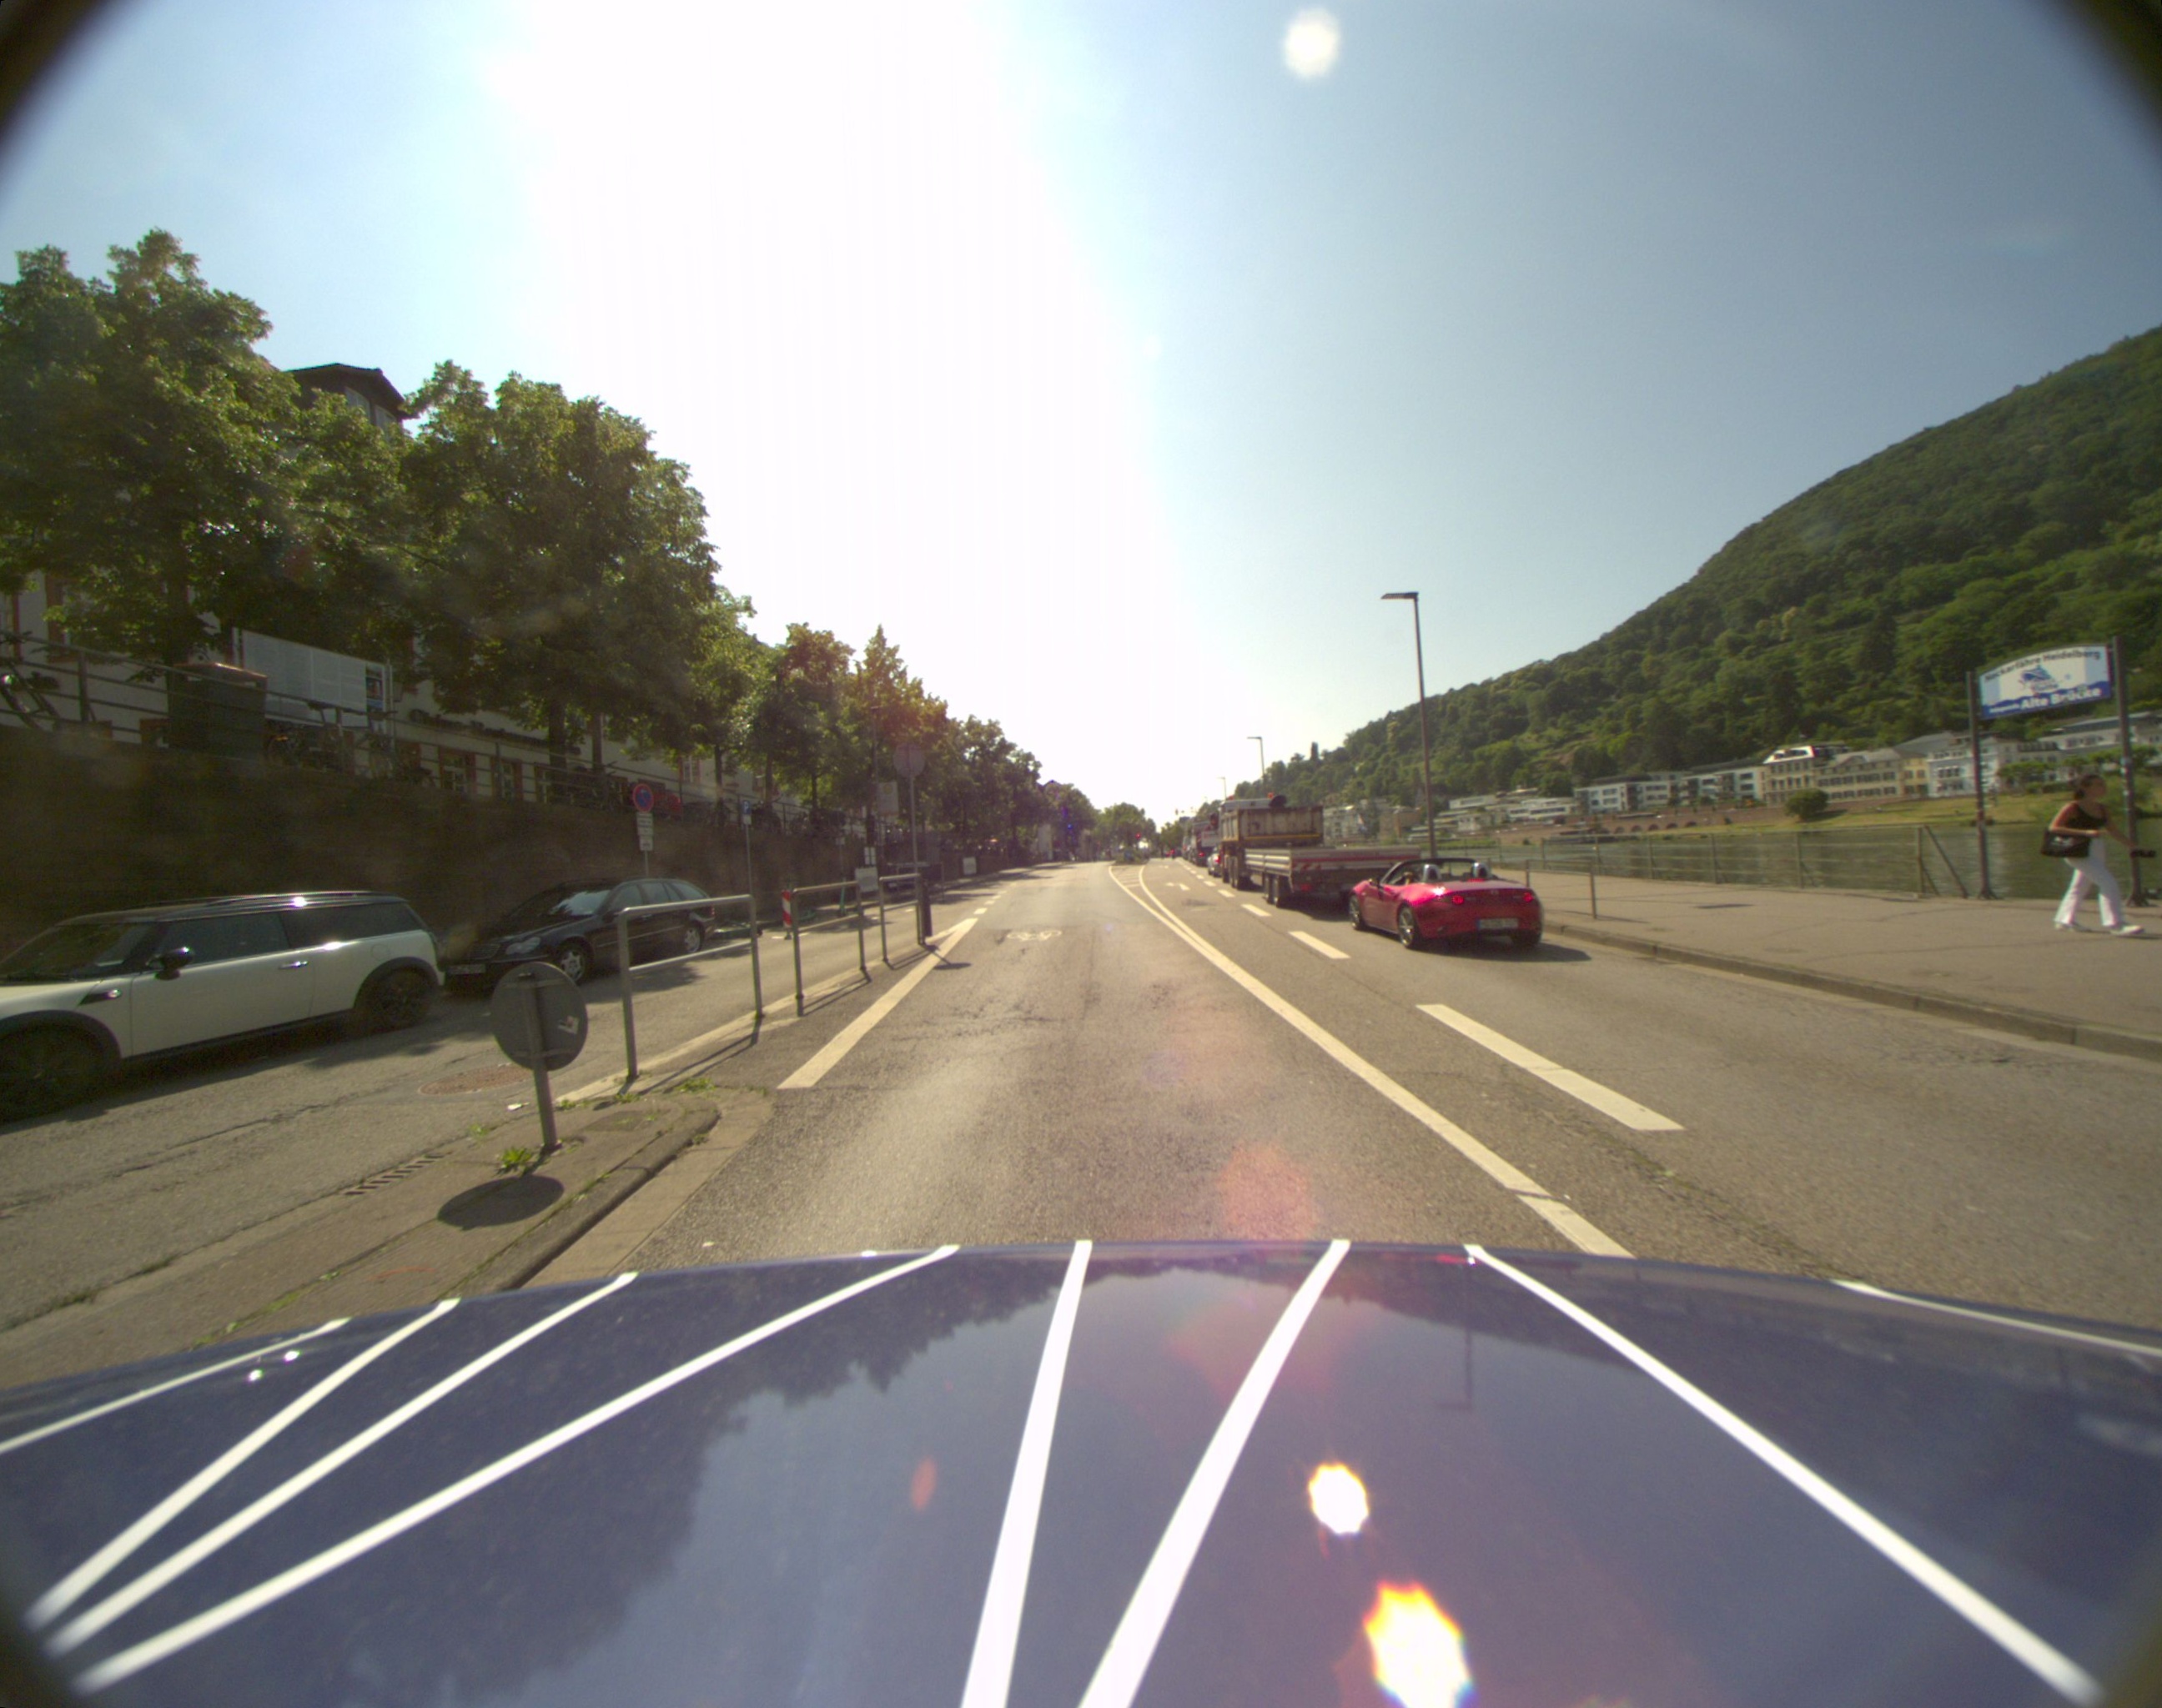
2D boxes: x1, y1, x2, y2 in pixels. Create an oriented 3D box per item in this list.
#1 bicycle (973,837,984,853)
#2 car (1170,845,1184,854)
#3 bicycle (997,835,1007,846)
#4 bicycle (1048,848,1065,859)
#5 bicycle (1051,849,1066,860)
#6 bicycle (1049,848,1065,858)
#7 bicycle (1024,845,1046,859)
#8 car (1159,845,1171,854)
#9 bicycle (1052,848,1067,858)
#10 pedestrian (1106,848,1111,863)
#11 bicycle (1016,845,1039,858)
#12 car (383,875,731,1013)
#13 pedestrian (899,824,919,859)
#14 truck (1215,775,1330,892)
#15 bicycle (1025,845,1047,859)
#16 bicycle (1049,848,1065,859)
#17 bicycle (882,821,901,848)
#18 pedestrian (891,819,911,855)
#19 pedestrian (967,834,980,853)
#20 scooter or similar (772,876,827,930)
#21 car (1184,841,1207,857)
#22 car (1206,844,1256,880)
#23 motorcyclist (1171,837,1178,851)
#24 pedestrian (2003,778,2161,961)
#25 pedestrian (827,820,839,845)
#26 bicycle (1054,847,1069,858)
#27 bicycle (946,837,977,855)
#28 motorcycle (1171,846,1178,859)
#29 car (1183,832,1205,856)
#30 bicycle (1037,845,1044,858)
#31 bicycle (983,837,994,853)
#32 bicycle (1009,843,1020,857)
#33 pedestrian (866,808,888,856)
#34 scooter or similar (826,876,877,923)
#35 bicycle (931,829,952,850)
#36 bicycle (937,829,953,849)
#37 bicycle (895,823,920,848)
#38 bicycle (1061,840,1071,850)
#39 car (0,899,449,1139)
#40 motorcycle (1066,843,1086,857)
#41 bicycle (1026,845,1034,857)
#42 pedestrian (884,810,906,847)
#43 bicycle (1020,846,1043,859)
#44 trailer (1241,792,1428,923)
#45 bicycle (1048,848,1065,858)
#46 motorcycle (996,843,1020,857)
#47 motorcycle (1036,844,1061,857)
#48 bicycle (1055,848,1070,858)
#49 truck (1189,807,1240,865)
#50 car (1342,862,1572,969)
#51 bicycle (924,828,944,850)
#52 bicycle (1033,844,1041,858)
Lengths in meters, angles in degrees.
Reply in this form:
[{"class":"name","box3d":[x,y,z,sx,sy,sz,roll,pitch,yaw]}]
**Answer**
[{"class":"bicycle","box3d":[-6.523,-0.551,48.516,0.298,0.998,1.860,-2,0,4]},{"class":"car","box3d":[15.627,-0.751,123.595,1.998,1.444,4.262,-4,0,6]},{"class":"bicycle","box3d":[-5.723,-0.949,55.163,0.350,0.779,1.919,-2,0,3]},{"class":"bicycle","box3d":[-2.579,-0.089,81.212,1.753,1.126,0.464,0,1,1]},{"class":"bicycle","box3d":[-2.472,0.077,84.080,1.631,1.210,0.413,0,1,1]},{"class":"bicycle","box3d":[-2.589,-0.117,82.057,1.753,1.126,0.464,0,1,1]},{"class":"bicycle","box3d":[-4.589,-0.229,76.405,2.160,1.360,0.477,-1,1,5]},{"class":"car","box3d":[15.459,-0.807,139.806,1.908,1.428,3.891,-3,1,1]},{"class":"bicycle","box3d":[-2.431,-0.119,84.380,1.631,1.163,0.350,0,1,1]},{"class":"pedestrian","box3d":[3.261,0.156,90.900,0.541,1.767,0.582,-2,0,4]},{"class":"bicycle","box3d":[-5.150,-0.230,73.609,2.160,1.254,0.477,-1,1,5]},{"class":"car","box3d":[-7.557,1.189,11.687,1.847,1.442,4.535,-3,1,5]},{"class":"pedestrian","box3d":[-8.445,-0.607,37.350,0.720,1.711,0.573,-2,1,5]},{"class":"truck","box3d":[6.411,-0.680,26.669,2.648,3.437,7.872,-1,1,5]},{"class":"bicycle","box3d":[-4.530,-0.236,76.945,2.160,1.360,0.584,-1,1,5]},{"class":"bicycle","box3d":[-2.552,-0.081,80.650,1.753,1.126,0.540,0,1,-1]},{"class":"bicycle","box3d":[-8.204,-0.834,32.959,0.411,1.099,1.734,-2,1,-2]},{"class":"pedestrian","box3d":[-8.711,-0.824,36.740,0.720,1.711,0.573,-2,1,5]},{"class":"pedestrian","box3d":[-7.288,-0.714,51.352,0.696,1.257,0.669,-2,1,1]},{"class":"scooter or similar","box3d":[-6.964,1.188,18.853,0.532,1.223,1.273,-2,1,19]},{"class":"car","box3d":[11.253,-0.502,74.876,1.997,1.410,4.922,-2,1,6]},{"class":"car","box3d":[6.794,0.315,34.830,1.781,1.435,3.998,-2,1,5]},{"class":"motorcyclist","box3d":[10.385,-1.160,84.789,0.703,1.518,0.861,-2,1,7]},{"class":"pedestrian","box3d":[10.335,0.122,7.588,0.818,1.691,1.151,-3,1,3]},{"class":"pedestrian","box3d":[-16.013,-1.381,49.079,0.469,1.536,0.608,-4,1,5]},{"class":"bicycle","box3d":[-2.208,-0.134,85.033,1.628,1.163,0.425,-1,0,24]},{"class":"bicycle","box3d":[-7.413,-0.500,47.121,1.858,0.999,0.299,-2,0,3]},{"class":"motorcycle","box3d":[10.346,-0.190,84.316,0.727,1.379,2.512,-2,1,7]},{"class":"car","box3d":[12.286,-1.116,82.837,2.199,2.511,4.750,0,1,5]},{"class":"bicycle","box3d":[-3.871,-0.221,72.960,0.476,1.254,2.163,-1,1,3]},{"class":"bicycle","box3d":[-6.141,-0.587,50.628,0.298,0.998,1.942,-2,0,4]},{"class":"bicycle","box3d":[-5.214,-0.339,59.935,0.345,1.106,1.920,-2,1,9]},{"class":"pedestrian","box3d":[-9.585,-1.033,35.728,0.720,2.176,0.711,-2,1,5]},{"class":"scooter or similar","box3d":[-5.875,1.161,19.558,0.532,1.083,1.440,-2,1,14]},{"class":"bicycle","box3d":[-7.472,-0.783,40.750,0.410,1.099,1.925,-2,1,10]},{"class":"bicycle","box3d":[-8.125,-0.912,45.482,0.382,1.133,1.934,-2,0,4]},{"class":"bicycle","box3d":[-7.953,-0.829,34.922,0.410,1.099,1.735,-2,1,10]},{"class":"bicycle","box3d":[-1.576,-0.969,82.101,0.539,1.002,1.756,-2,0,16]},{"class":"car","box3d":[-8.098,1.276,6.577,1.615,1.405,3.905,-3,1,7]},{"class":"motorcycle","box3d":[-0.593,-0.465,85.504,2.195,1.519,0.800,-2,1,41]},{"class":"bicycle","box3d":[-4.479,-0.260,66.449,0.301,1.043,2.164,-1,0,7]},{"class":"pedestrian","box3d":[-8.849,-1.223,36.122,0.720,1.711,0.711,-2,1,5]},{"class":"bicycle","box3d":[-4.844,-0.150,74.880,2.160,1.254,0.477,-1,1,5]},{"class":"trailer","box3d":[5.690,0.001,18.363,2.703,2.516,6.948,-1,1,5]},{"class":"bicycle","box3d":[-2.599,-0.103,81.620,1.753,1.126,0.464,0,1,1]},{"class":"motorcycle","box3d":[-5.981,-0.349,62.115,1.920,1.092,0.575,-2,1,-2]},{"class":"motorcycle","box3d":[-3.336,-0.352,78.934,2.531,1.268,0.725,-2,1,28]},{"class":"bicycle","box3d":[-2.086,-0.126,85.317,1.628,1.163,0.367,-1,0,24]},{"class":"truck","box3d":[8.988,-1.172,52.099,2.647,3.456,11.111,-2,1,7]},{"class":"car","box3d":[5.221,0.771,11.104,1.675,1.187,3.629,-1,1,3]},{"class":"bicycle","box3d":[-7.544,-0.765,39.057,0.410,1.099,1.735,-2,1,10]},{"class":"bicycle","box3d":[-4.095,-0.295,70.709,0.476,1.254,2.163,-1,1,3]}]
